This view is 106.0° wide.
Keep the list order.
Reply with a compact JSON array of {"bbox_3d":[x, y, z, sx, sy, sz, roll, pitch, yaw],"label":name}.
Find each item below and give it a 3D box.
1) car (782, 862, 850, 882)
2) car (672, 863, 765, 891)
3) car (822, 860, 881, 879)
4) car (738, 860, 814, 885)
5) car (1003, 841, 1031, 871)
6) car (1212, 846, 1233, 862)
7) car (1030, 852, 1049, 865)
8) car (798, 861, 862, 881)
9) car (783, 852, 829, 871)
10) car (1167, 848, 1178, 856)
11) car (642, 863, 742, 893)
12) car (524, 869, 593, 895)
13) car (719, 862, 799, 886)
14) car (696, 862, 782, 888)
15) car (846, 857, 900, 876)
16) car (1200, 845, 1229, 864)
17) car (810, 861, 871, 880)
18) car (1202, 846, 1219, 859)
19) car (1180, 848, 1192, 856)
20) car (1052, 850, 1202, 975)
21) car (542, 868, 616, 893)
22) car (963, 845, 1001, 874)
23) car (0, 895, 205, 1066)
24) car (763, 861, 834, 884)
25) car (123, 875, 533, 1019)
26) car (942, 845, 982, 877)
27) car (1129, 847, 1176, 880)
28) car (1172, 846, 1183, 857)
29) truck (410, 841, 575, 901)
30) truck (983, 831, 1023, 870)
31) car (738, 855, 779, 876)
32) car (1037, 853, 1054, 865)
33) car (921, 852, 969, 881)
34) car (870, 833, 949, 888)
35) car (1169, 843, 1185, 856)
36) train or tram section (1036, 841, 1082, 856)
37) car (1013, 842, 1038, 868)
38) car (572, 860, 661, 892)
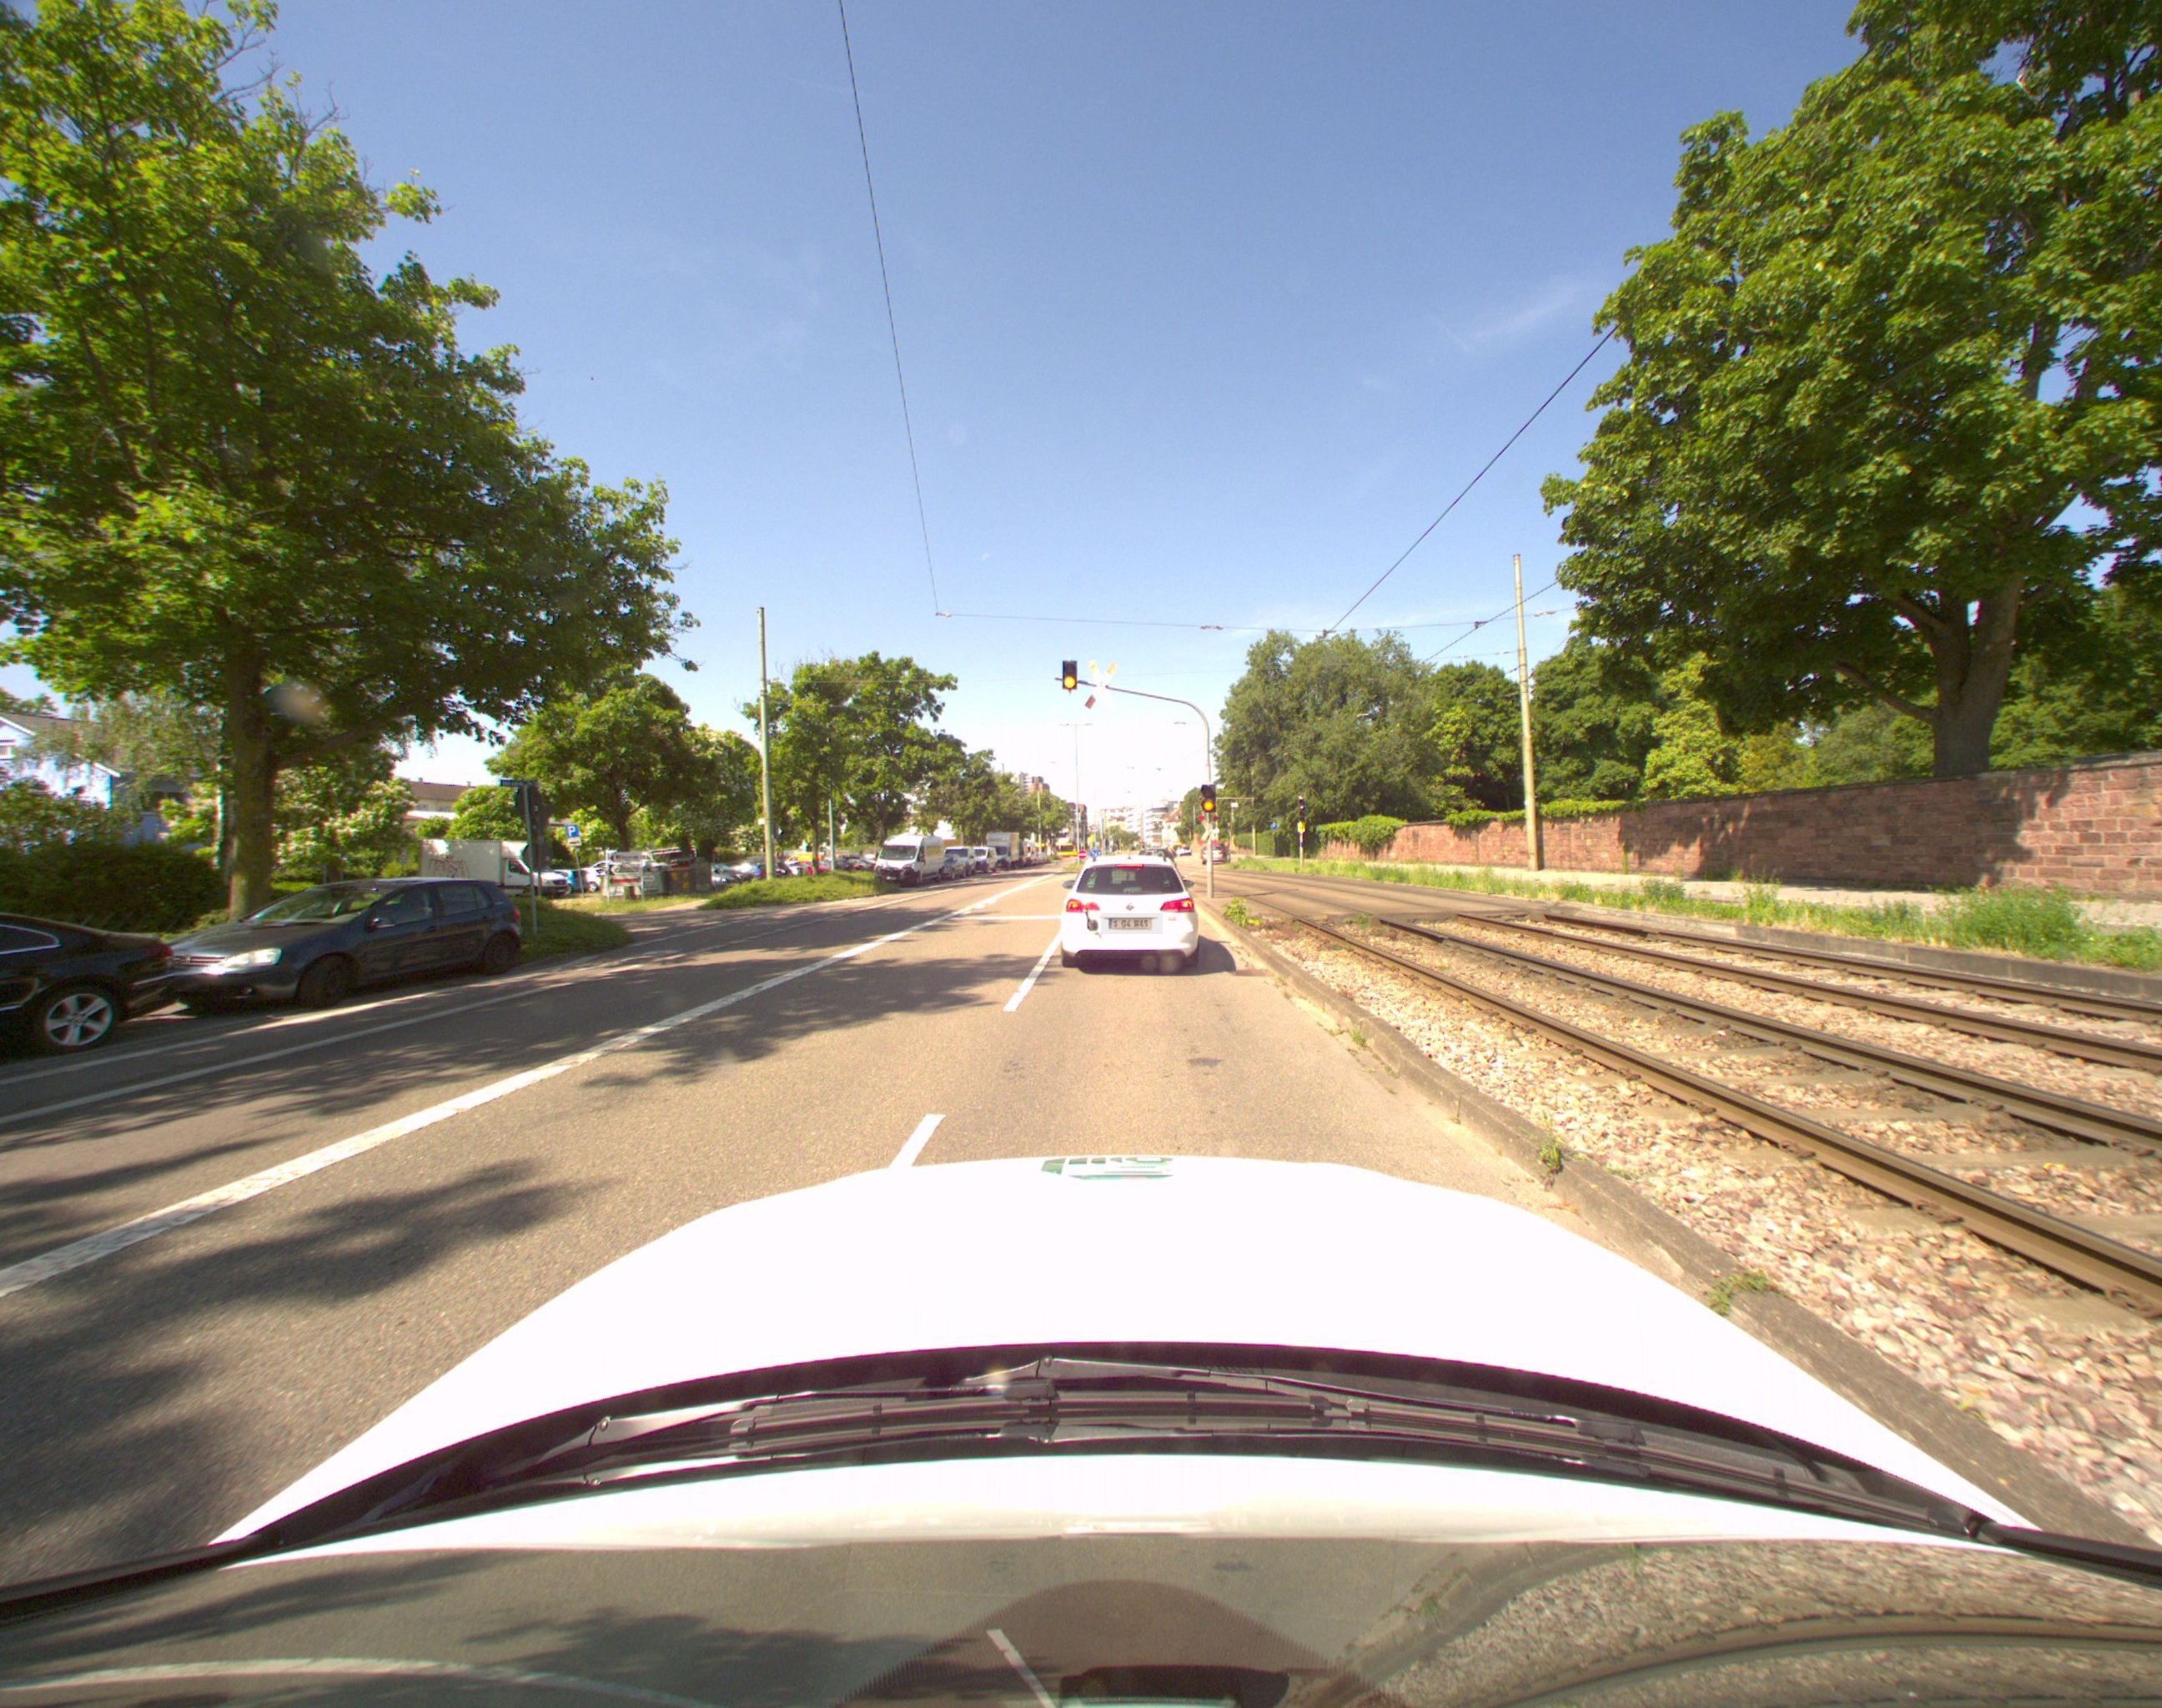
[{"bbox_3d":[-18.141,1.212,55.825,3.967,1.225,1.774,-2,0,5],"label":"car"},{"bbox_3d":[-18.705,1.170,42.134,3.972,1.225,1.772,-2,0,1],"label":"car"},{"bbox_3d":[-17.689,1.186,62.846,3.967,1.225,1.774,-2,0,5],"label":"car"},{"bbox_3d":[-18.937,1.158,50.647,3.967,1.350,1.774,-2,0,5],"label":"car"},{"bbox_3d":[-5.984,0.141,76.536,1.836,2.668,5.008,-2,0,4],"label":"car"},{"bbox_3d":[13.668,-0.048,78.716,1.851,1.513,3.921,0,0,7],"label":"car"},{"bbox_3d":[-5.040,0.521,99.153,1.836,1.433,4.041,-2,0,3],"label":"car"},{"bbox_3d":[-18.007,1.232,58.509,3.967,1.225,1.774,-2,0,5],"label":"car"},{"bbox_3d":[-29.198,0.799,86.508,4.247,2.014,1.998,0,0,-3],"label":"car"},{"bbox_3d":[18.250,-0.417,161.914,1.985,1.596,4.004,0,0,3],"label":"car"},{"bbox_3d":[-18.894,1.152,39.657,3.972,1.225,1.772,-2,0,1],"label":"car"},{"bbox_3d":[-31.219,1.664,48.684,3.117,1.432,1.560,1,1,6],"label":"car"},{"bbox_3d":[-19.002,1.187,48.135,3.967,1.225,1.774,-2,0,5],"label":"car"},{"bbox_3d":[-18.841,1.143,44.934,3.967,1.225,1.774,-2,0,5],"label":"car"},{"bbox_3d":[-17.335,1.027,67.979,3.967,1.444,1.774,-2,0,5],"label":"car"},{"bbox_3d":[10.321,0.025,62.798,1.848,1.416,4.341,0,0,14],"label":"car"},{"bbox_3d":[-17.923,1.233,60.734,3.967,1.225,1.774,-2,0,5],"label":"car"},{"bbox_3d":[14.353,-0.134,90.528,1.737,1.407,3.921,0,0,7],"label":"car"},{"bbox_3d":[16.498,-0.288,128.109,1.575,1.346,3.456,0,0,3],"label":"car"},{"bbox_3d":[0.617,0.675,11.559,1.761,1.446,3.915,0,0,2],"label":"car"},{"bbox_3d":[-31.554,1.660,51.238,3.753,1.356,1.560,1,1,6],"label":"car"},{"bbox_3d":[-7.273,0.368,60.445,1.836,1.960,5.139,-2,0,4],"label":"car"},{"bbox_3d":[-10.145,1.142,6.175,1.683,1.379,4.786,0,1,3],"label":"car"},{"bbox_3d":[-18.505,1.199,53.372,3.967,1.264,1.774,-2,0,5],"label":"car"},{"bbox_3d":[-9.684,1.078,11.005,1.634,1.450,4.008,0,0,4],"label":"car"},{"bbox_3d":[-7.834,0.447,53.963,1.838,1.937,5.192,-2,0,-1],"label":"car"},{"bbox_3d":[3.237,0.377,36.255,1.735,1.388,3.924,0,0,10],"label":"car"},{"bbox_3d":[16.930,-0.409,142.649,1.684,1.812,3.456,0,0,3],"label":"car"},{"bbox_3d":[-31.320,0.878,43.503,7.116,3.018,2.232,1,0,0],"label":"truck"},{"bbox_3d":[-6.529,-0.310,68.977,2.347,3.122,6.895,-2,0,2],"label":"truck"},{"bbox_3d":[-32.287,1.140,81.567,3.411,1.876,1.553,-2,0,1],"label":"car"},{"bbox_3d":[-4.539,0.654,104.991,1.773,1.433,4.041,-2,0,3],"label":"car"},{"bbox_3d":[-7.820,0.677,47.212,1.836,1.516,4.200,-2,0,3],"label":"car"},{"bbox_3d":[-8.446,0.255,40.855,2.048,2.501,6.317,1,1,6],"label":"car"},{"bbox_3d":[17.913,-0.826,152.295,2.453,2.499,5.914,0,0,3],"label":"car"},{"bbox_3d":[-4.987,-1.178,185.596,11.129,3.253,2.323,0,-1,33],"label":"train or tram section"},{"bbox_3d":[-5.711,0.103,84.430,1.835,2.494,5.862,-2,0,4],"label":"car"},{"bbox_3d":[-30.599,1.446,53.731,4.681,2.014,1.998,0,0,-2],"label":"car"}]
